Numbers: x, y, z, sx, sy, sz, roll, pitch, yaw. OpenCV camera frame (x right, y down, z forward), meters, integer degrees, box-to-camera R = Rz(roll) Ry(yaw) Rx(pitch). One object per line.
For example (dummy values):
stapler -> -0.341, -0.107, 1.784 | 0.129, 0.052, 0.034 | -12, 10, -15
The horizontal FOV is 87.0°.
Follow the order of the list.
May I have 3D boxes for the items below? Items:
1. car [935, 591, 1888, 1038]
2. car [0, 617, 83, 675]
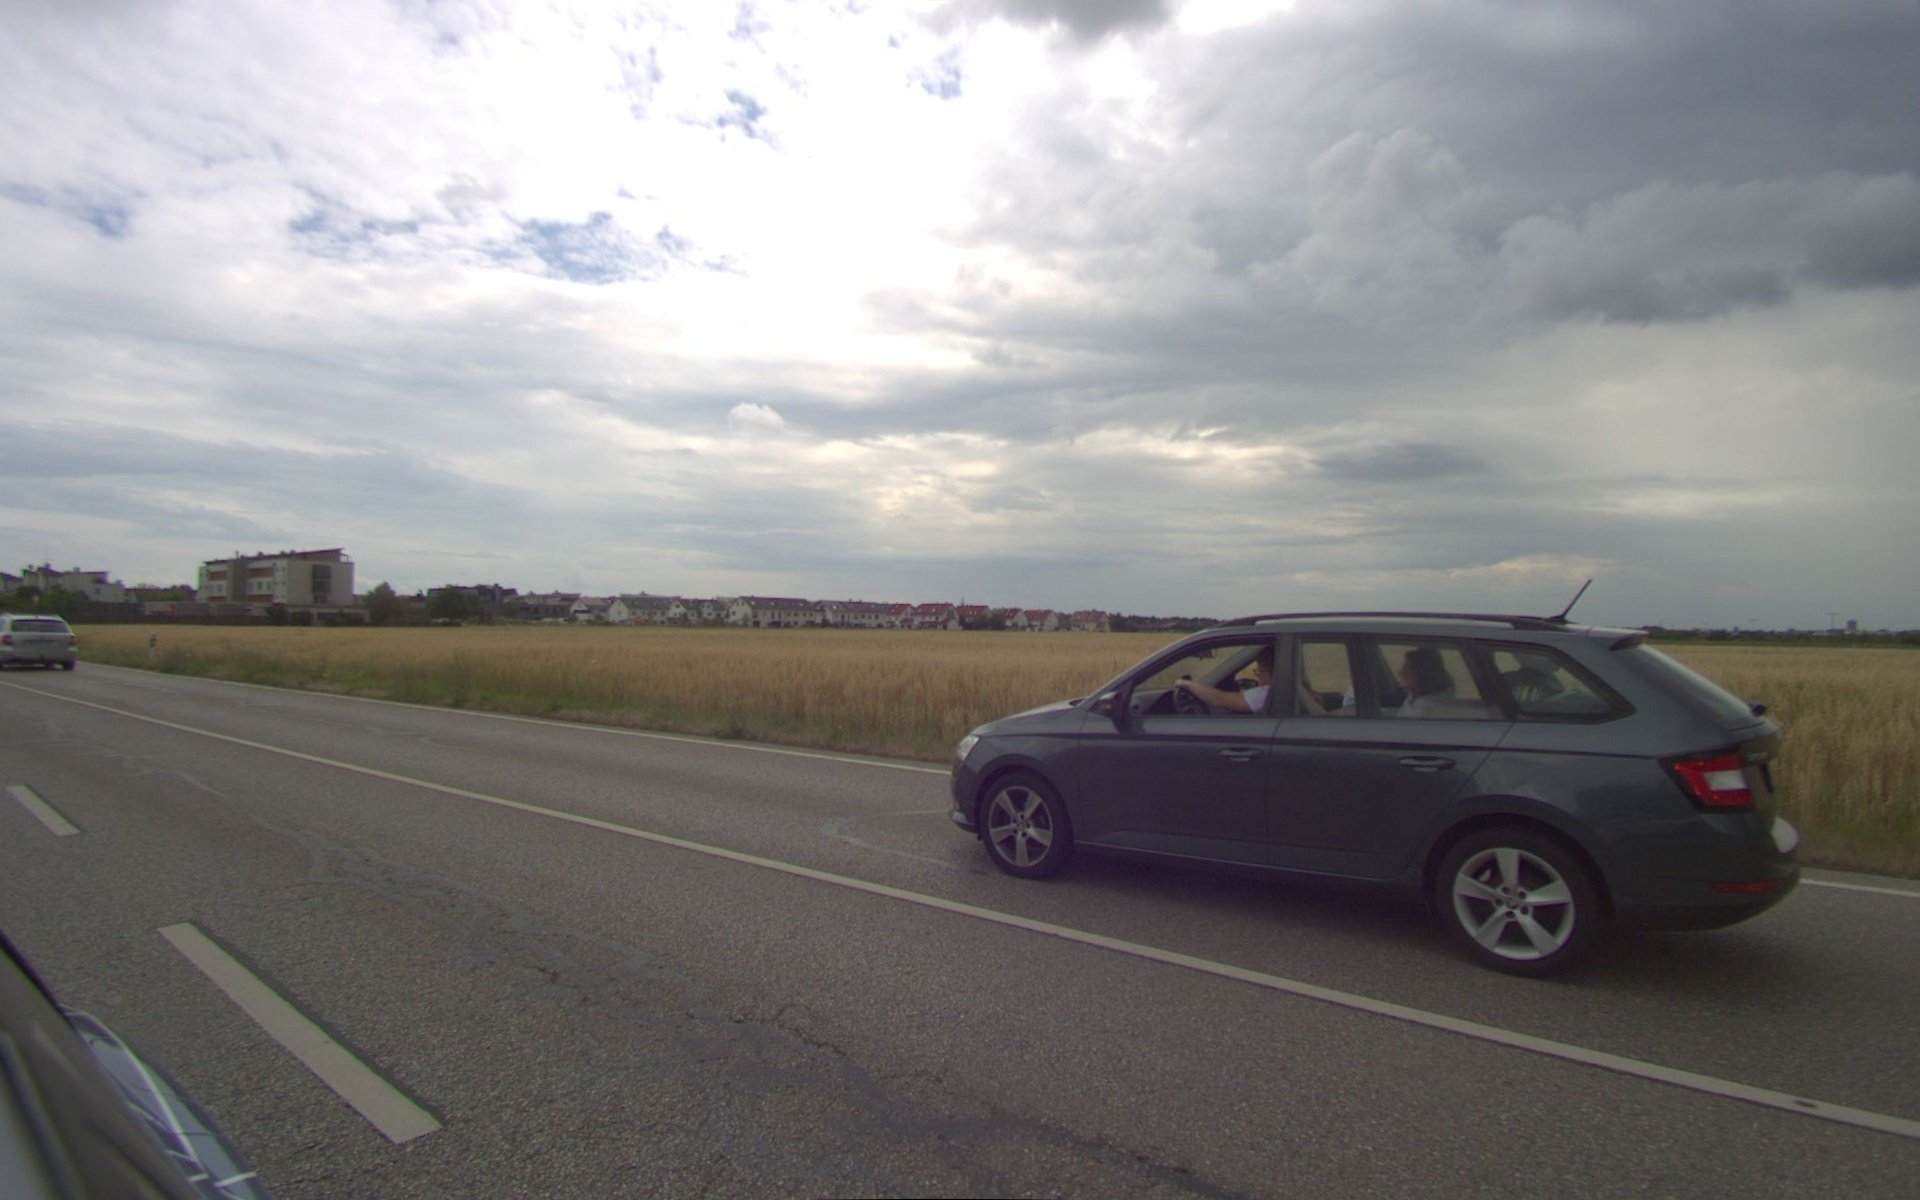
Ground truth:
car -> 1.987, 0.750, 5.324 | 4.127, 1.469, 1.718 | -1, -2, 39
car -> -25.907, 1.242, 27.904 | 4.259, 1.500, 1.833 | -1, -3, 39
